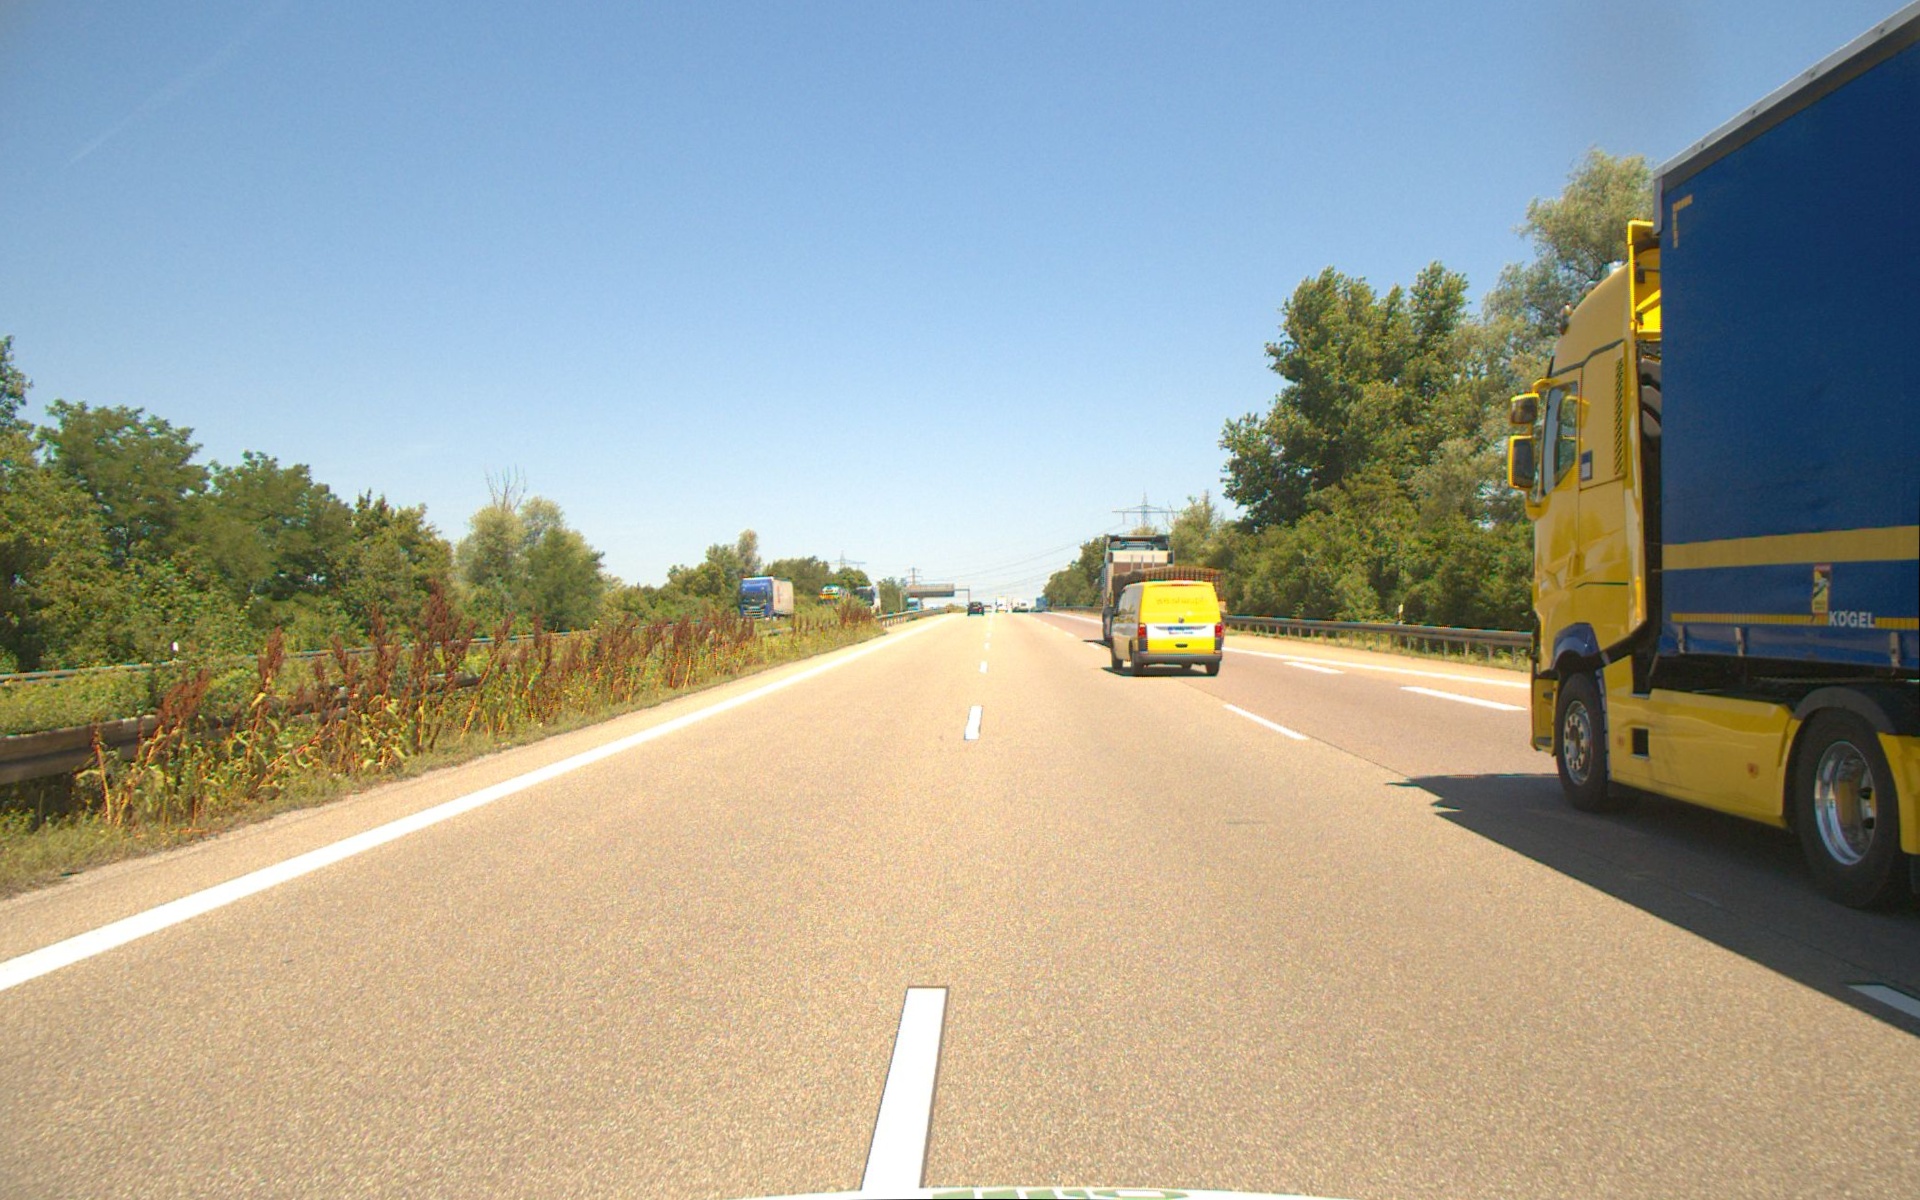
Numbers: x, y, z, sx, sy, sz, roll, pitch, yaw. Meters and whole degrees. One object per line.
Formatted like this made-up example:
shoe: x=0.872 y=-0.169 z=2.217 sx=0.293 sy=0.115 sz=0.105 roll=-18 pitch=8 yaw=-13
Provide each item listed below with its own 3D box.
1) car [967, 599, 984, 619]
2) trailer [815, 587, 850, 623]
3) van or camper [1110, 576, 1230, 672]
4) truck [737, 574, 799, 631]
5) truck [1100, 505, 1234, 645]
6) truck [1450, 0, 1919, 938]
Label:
car: x=1.642 y=1.000 z=173.793 sx=1.754 sy=2.049 sz=3.888 roll=0 pitch=-1 yaw=2
trailer: x=-15.093 y=0.583 z=196.090 sx=2.861 sy=4.037 sz=11.652 roll=-3 pitch=0 yaw=1
van or camper: x=4.473 y=0.482 z=35.990 sx=1.953 sy=1.942 sz=4.971 roll=0 pitch=0 yaw=0
truck: x=-16.295 y=0.237 z=141.735 sx=2.894 sy=4.418 sz=17.471 roll=-3 pitch=0 yaw=1
truck: x=6.655 y=-0.642 z=55.976 sx=2.908 sy=4.026 sz=16.615 roll=0 pitch=-1 yaw=2
truck: x=5.528 y=-0.743 z=5.635 sx=2.786 sy=4.332 sz=16.791 roll=-1 pitch=-1 yaw=1
